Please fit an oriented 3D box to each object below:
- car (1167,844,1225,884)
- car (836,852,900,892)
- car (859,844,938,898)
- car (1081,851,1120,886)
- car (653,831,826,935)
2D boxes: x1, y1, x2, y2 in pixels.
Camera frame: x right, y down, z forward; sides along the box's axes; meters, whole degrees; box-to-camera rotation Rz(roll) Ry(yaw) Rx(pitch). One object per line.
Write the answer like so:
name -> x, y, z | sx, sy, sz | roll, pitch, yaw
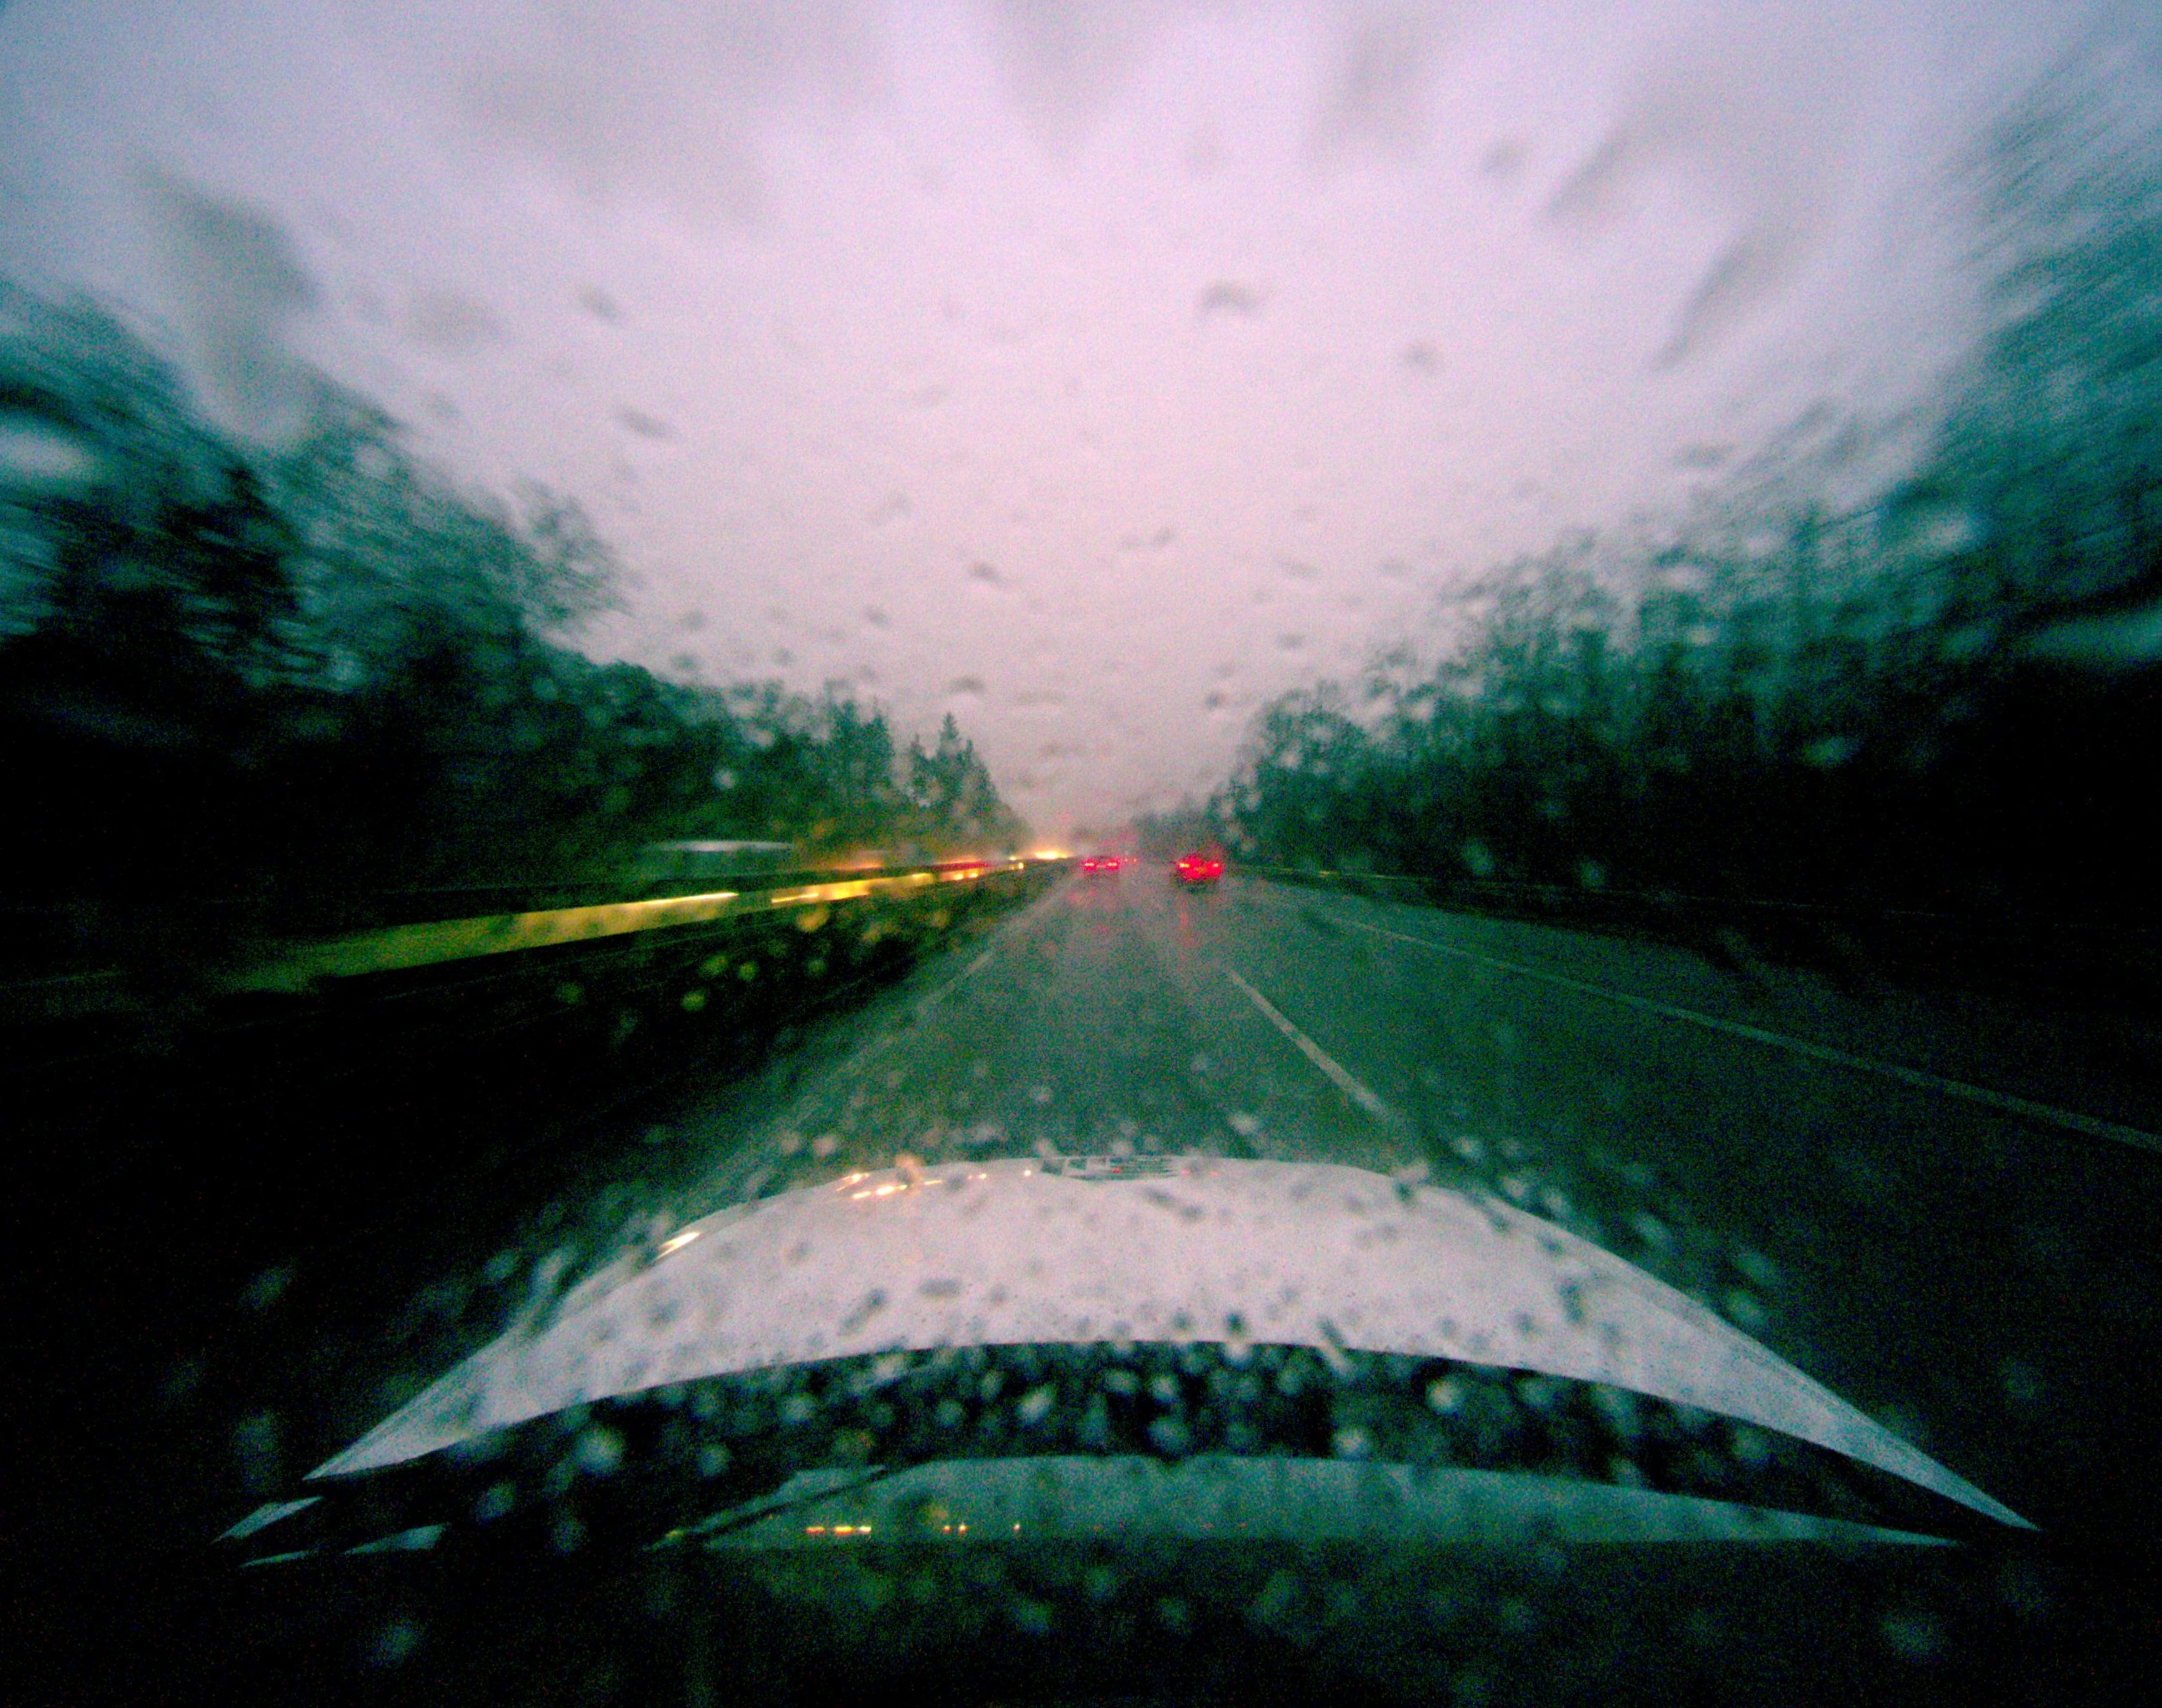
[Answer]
car -> 5.166, 0.422, 37.120 | 2.063, 1.698, 4.462 | 0, 0, 1
car -> -10.076, 0.831, 38.801 | 1.848, 1.799, 4.002 | 0, 0, 2
car -> -7.224, 0.654, 32.746 | 1.986, 2.014, 4.730 | 0, 0, 2
car -> 1.084, 0.772, 44.438 | 1.978, 1.767, 4.175 | -1, 0, 2
car -> -7.260, 0.560, 17.895 | 1.846, 1.982, 4.599 | 0, 0, 0
